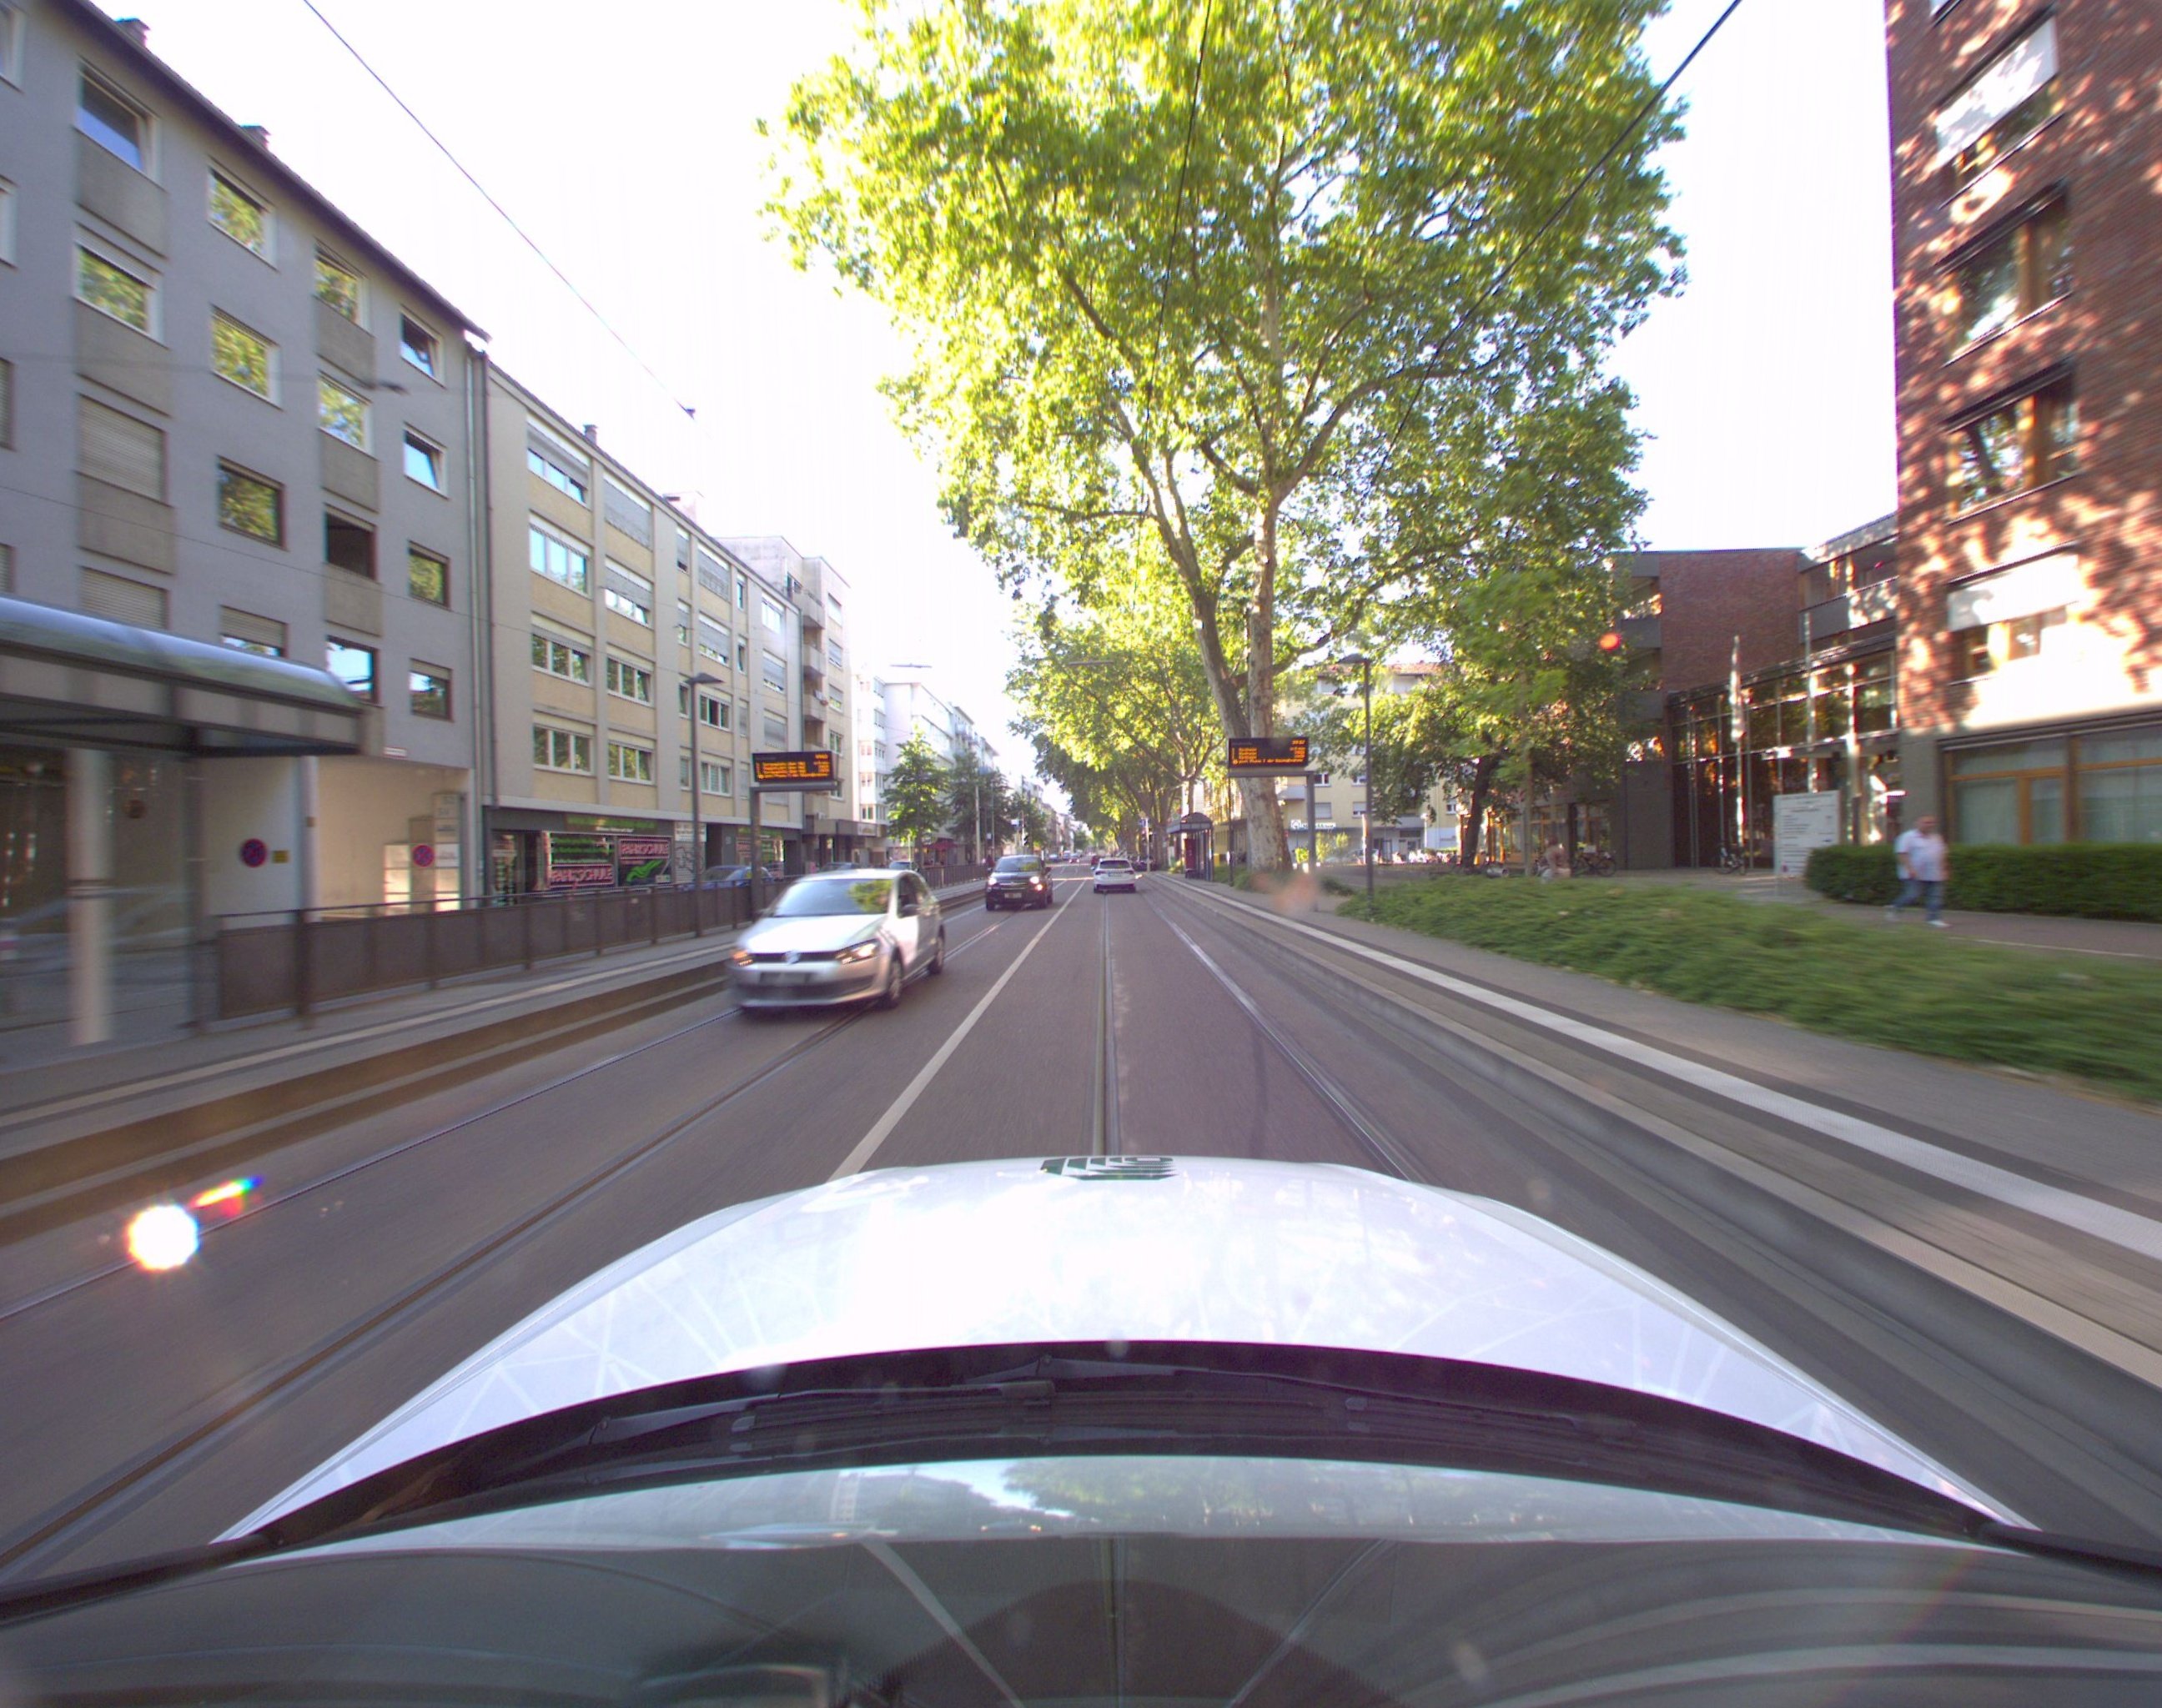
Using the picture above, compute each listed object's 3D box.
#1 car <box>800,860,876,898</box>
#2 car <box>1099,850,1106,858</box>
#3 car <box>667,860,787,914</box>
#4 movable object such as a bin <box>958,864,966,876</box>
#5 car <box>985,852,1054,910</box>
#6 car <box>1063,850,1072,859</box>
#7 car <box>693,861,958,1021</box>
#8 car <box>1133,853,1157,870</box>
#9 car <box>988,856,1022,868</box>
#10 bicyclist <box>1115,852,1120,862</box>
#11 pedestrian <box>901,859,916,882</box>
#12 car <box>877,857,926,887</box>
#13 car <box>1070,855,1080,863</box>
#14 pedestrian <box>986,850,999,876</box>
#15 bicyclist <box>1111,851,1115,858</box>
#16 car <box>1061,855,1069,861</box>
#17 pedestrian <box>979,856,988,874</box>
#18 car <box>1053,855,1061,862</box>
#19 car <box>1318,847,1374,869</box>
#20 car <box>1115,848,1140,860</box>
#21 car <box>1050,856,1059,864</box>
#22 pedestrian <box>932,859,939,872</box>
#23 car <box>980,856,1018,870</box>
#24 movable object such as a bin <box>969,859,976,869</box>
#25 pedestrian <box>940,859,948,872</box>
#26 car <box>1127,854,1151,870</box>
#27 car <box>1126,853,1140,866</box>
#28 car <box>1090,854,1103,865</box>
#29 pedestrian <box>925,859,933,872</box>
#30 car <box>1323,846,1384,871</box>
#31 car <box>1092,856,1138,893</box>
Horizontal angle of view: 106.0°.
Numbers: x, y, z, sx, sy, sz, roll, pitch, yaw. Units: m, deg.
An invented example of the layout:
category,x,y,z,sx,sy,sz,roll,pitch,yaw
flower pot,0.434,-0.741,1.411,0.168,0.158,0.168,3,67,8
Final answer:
category,x,y,z,sx,sy,sz,roll,pitch,yaw
car,-10.975,1.090,37.126,1.949,1.544,4.390,-2,0,2
car,6.549,0.011,247.213,2.194,2.388,4.001,-1,0,2
car,-11.129,0.980,25.943,1.788,1.464,4.283,-2,0,2
movable object such as a bin,-9.742,1.303,66.649,0.539,0.932,0.647,-2,0,-16
car,-1.809,0.766,25.173,1.756,1.588,4.000,-2,0,0
car,-3.944,0.145,242.588,2.334,2.861,4.001,-1,0,1
car,-2.731,0.850,9.745,1.755,1.426,4.002,-2,0,2
car,5.771,0.672,73.588,1.759,1.462,5.011,-2,0,0
car,-9.463,0.993,101.599,4.001,1.475,1.850,0,-1,-2
bicyclist,5.309,0.428,117.494,0.676,1.443,1.047,-2,0,2
pedestrian,-12.047,1.144,56.937,0.718,1.556,0.730,-2,0,44
car,-10.802,1.073,49.361,1.871,1.651,4.358,-2,0,1
car,-1.179,0.950,156.602,1.865,1.590,4.146,1,0,0
pedestrian,-5.500,0.566,50.791,0.651,1.585,0.773,-1,0,2
bicyclist,5.981,0.094,154.135,0.647,1.344,0.934,-2,0,0
car,-4.201,0.937,212.181,1.986,1.530,4.001,-1,0,2
pedestrian,-8.337,0.945,69.677,0.723,1.556,0.768,-2,0,-4
car,-5.300,1.023,183.125,1.648,1.437,3.836,-1,0,0
car,21.105,0.296,64.950,3.848,1.552,1.867,-2,2,1
car,11.574,0.012,202.047,6.111,2.635,2.528,-1,0,-1
car,-5.508,1.248,167.377,1.697,1.650,4.241,1,0,0
pedestrian,-13.485,1.029,75.456,0.512,1.198,0.561,-2,0,-15
car,-9.036,1.032,89.963,3.997,1.475,1.852,0,-1,2
movable object such as a bin,-12.611,1.158,94.464,0.675,1.055,0.622,-2,0,3
pedestrian,-13.356,1.107,79.390,0.514,1.198,0.558,-2,0,-28
car,5.561,0.734,78.575,1.860,1.437,4.223,-2,0,-2
car,6.412,0.721,100.506,1.557,1.519,2.913,-3,-1,4
car,2.266,0.787,115.133,1.755,1.475,4.001,-2,0,1
pedestrian,-14.179,1.047,75.816,0.566,1.198,0.508,-2,0,-34
car,19.726,0.315,59.049,3.848,1.693,1.866,-2,0,1
car,1.375,0.819,34.085,1.756,1.384,4.000,-2,0,0
